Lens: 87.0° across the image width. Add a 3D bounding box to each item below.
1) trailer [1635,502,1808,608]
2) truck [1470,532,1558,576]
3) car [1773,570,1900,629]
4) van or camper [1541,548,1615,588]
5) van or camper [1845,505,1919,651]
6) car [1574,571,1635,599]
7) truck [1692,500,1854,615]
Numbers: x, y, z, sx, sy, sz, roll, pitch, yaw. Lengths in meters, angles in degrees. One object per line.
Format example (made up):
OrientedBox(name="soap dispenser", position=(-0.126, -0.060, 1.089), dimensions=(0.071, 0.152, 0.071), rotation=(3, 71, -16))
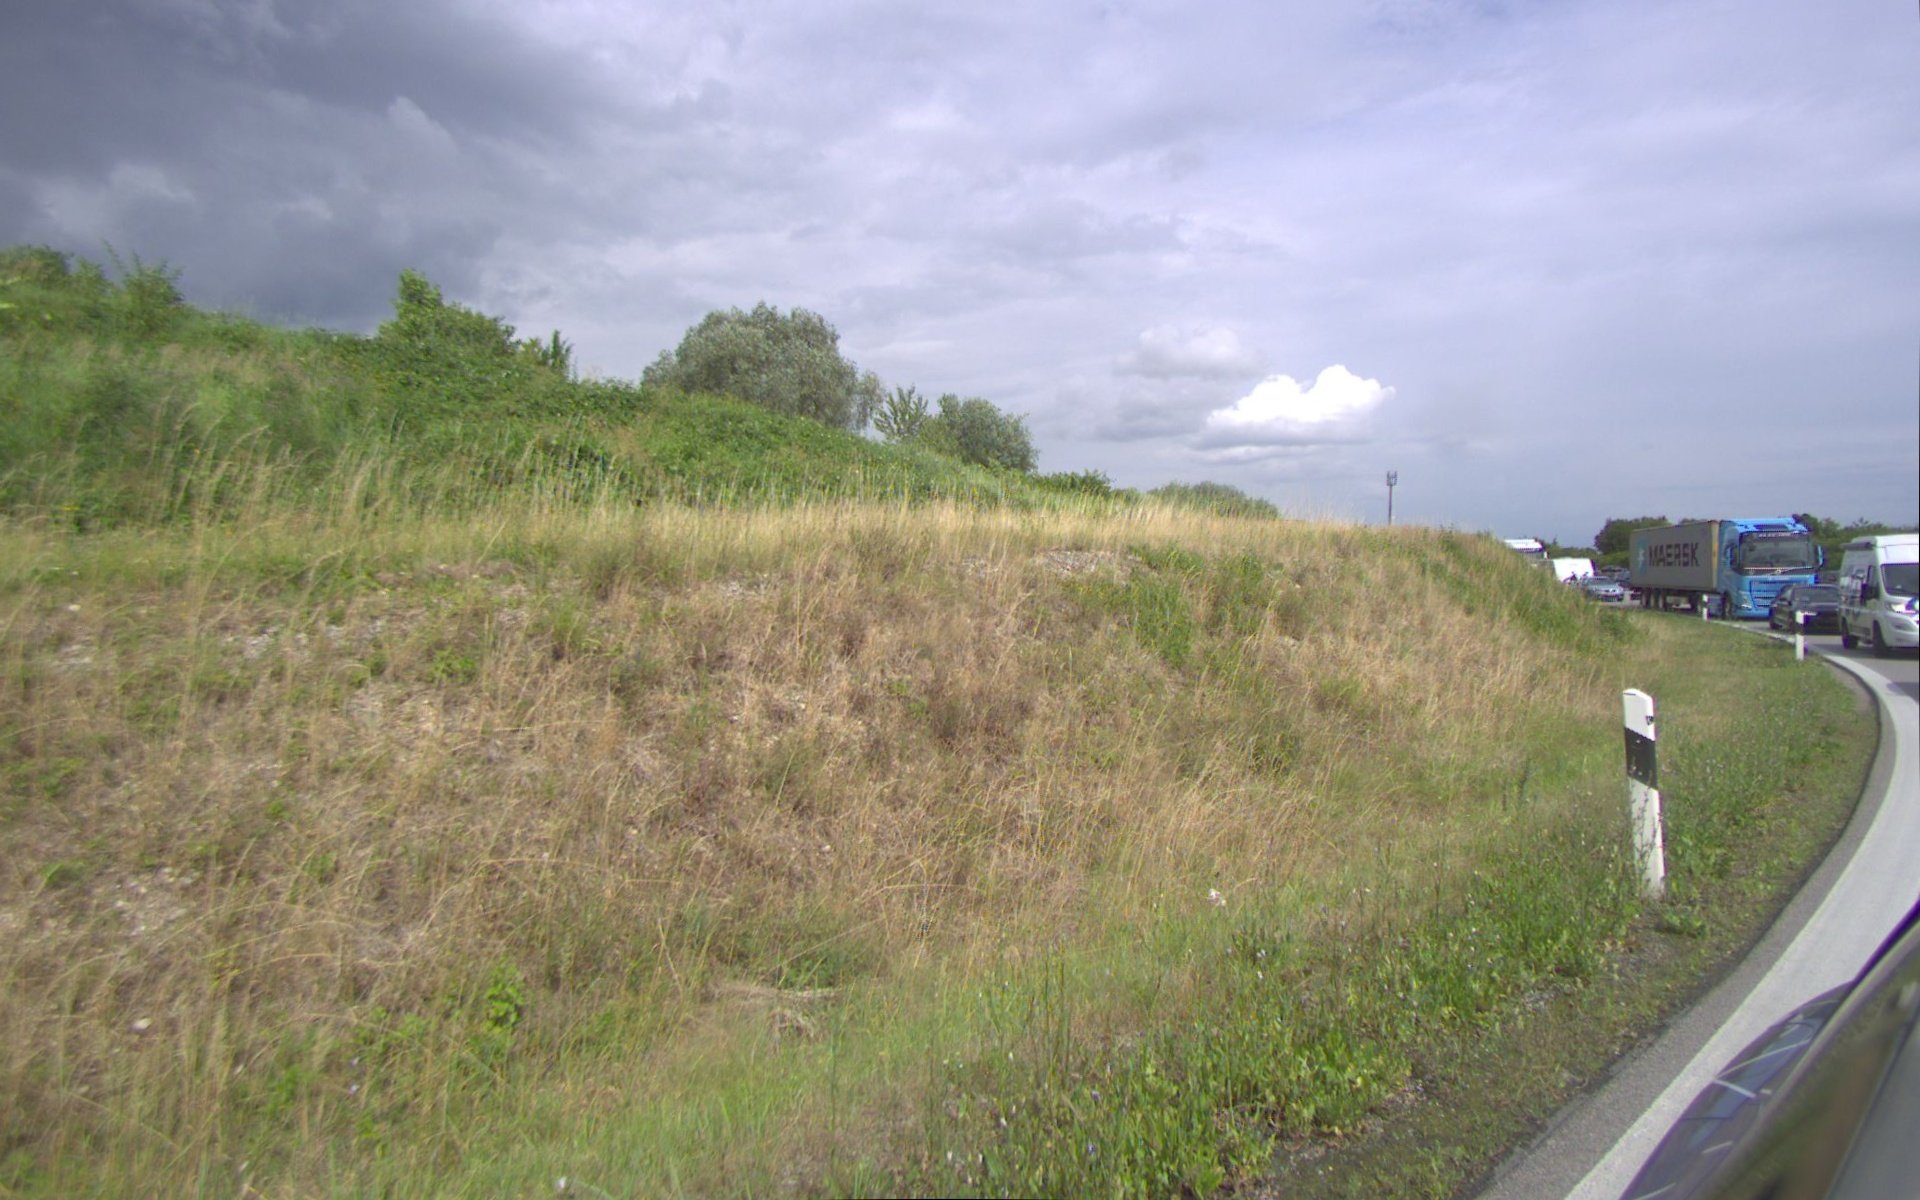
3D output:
OrientedBox(name="trailer", position=(34.444, -1.860, 46.485), dimensions=(3.237, 4.213, 11.931), rotation=(0, 1, 22))
OrientedBox(name="truck", position=(44.110, -3.598, 81.012), dimensions=(3.077, 3.279, 11.123), rotation=(0, 2, 12))
OrientedBox(name="car", position=(26.566, -0.085, 30.835), dimensions=(1.981, 1.638, 3.964), rotation=(1, 2, 27))
OrientedBox(name="van or camper", position=(39.851, -2.118, 65.397), dimensions=(2.517, 2.237, 5.689), rotation=(-1, 4, 15))
OrientedBox(name="van or camper", position=(21.629, -0.484, 22.305), dimensions=(2.382, 2.945, 5.653), rotation=(0, 1, 33))
OrientedBox(name="car", position=(38.111, -0.906, 59.945), dimensions=(1.973, 1.548, 3.980), rotation=(0, 2, 17))
OrientedBox(name="truck", position=(31.921, -1.574, 40.087), dimensions=(3.143, 4.124, 6.599), rotation=(0, 0, 22))
